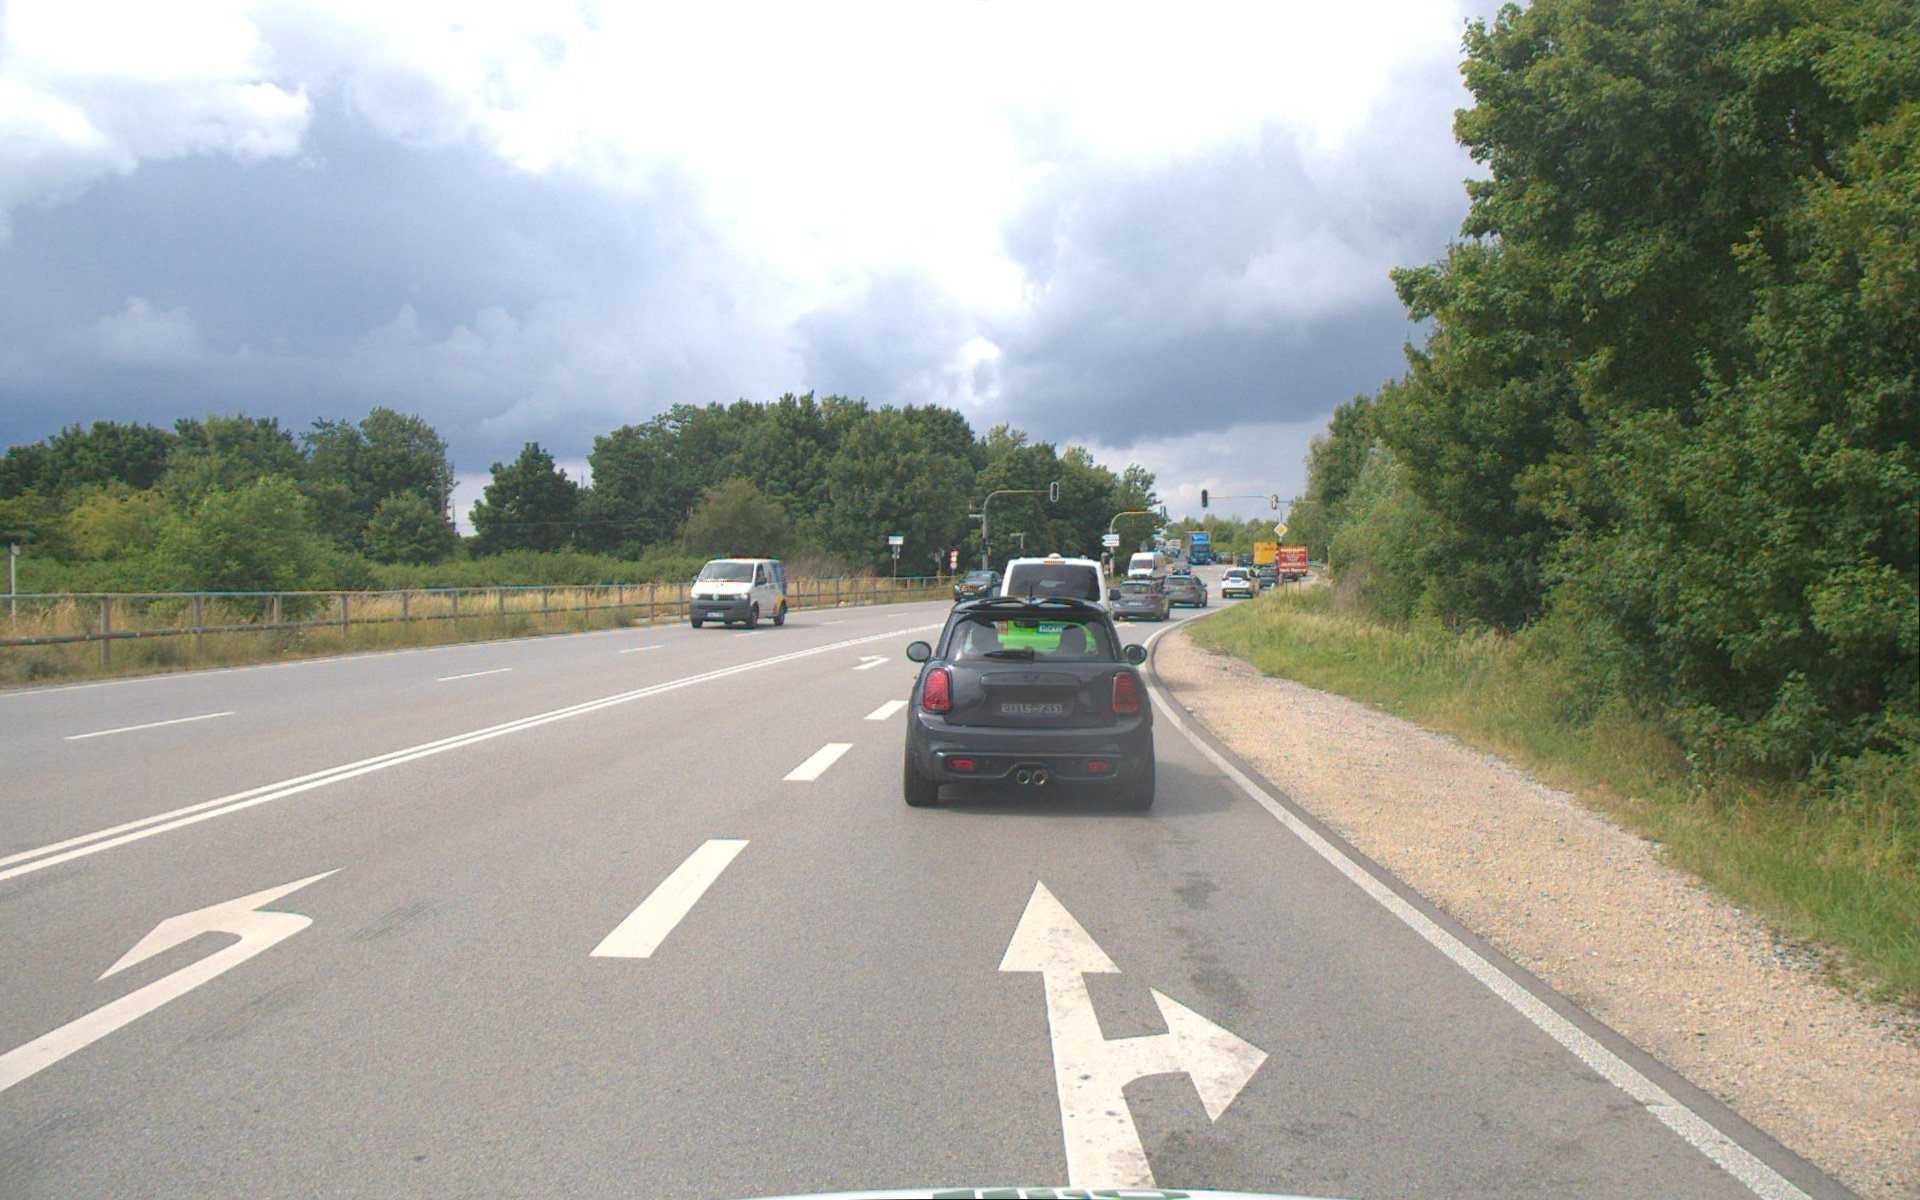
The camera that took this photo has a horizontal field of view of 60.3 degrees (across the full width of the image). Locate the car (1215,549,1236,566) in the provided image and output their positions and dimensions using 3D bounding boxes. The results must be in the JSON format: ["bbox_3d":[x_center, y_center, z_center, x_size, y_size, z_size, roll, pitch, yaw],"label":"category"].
[{"bbox_3d":[34.643,-5.581,215.933,2.135,2.049,4.001,1,0,2],"label":"car"}]

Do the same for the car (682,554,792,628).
[{"bbox_3d":[-6.462,-0.290,48.471,1.951,2.049,4.671,1,1,8],"label":"car"}]

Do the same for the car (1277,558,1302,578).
[{"bbox_3d":[28.792,-2.788,144.785,1.951,1.725,4.490,1,1,9],"label":"car"}]

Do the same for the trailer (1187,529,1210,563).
[{"bbox_3d":[30.479,-6.877,211.442,2.473,4.172,6.741,0,1,12],"label":"trailer"}]

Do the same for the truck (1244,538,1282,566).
[{"bbox_3d":[33.592,-5.271,183.545,2.661,2.948,8.772,0,1,1],"label":"truck"}]

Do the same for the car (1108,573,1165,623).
[{"bbox_3d":[6.427,-0.061,60.110,1.951,1.713,4.003,2,0,6],"label":"car"}]

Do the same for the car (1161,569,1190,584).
[{"bbox_3d":[21.298,-2.323,163.333,1.906,1.466,4.001,1,1,20],"label":"car"}]

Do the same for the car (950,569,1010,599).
[{"bbox_3d":[1.026,-0.812,82.509,1.770,1.467,4.356,1,1,17],"label":"car"}]

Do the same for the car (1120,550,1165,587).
[{"bbox_3d":[13.890,-2.371,125.328,2.382,2.721,6.893,1,1,15],"label":"car"}]

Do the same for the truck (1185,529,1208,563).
[{"bbox_3d":[29.771,-6.802,208.190,2.485,4.167,4.004,0,1,13],"label":"truck"}]

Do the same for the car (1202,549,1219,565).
[{"bbox_3d":[35.524,-6.068,234.678,1.952,2.049,4.000,1,0,1],"label":"car"}]

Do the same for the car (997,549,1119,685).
[{"bbox_3d":[1.566,0.233,26.878,1.806,2.021,3.842,1,0,2],"label":"car"}]

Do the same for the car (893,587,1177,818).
[{"bbox_3d":[0.576,0.646,12.582,1.806,1.453,3.842,1,0,3],"label":"car"}]

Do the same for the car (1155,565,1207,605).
[{"bbox_3d":[10.295,-0.689,76.770,1.951,1.713,3.980,2,0,13],"label":"car"}]

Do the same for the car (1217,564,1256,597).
[{"bbox_3d":[15.701,-1.105,93.811,1.951,1.713,4.003,2,0,12],"label":"car"}]

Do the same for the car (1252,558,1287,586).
[{"bbox_3d":[20.589,-1.828,109.941,1.951,1.713,4.003,2,0,15],"label":"car"}]
